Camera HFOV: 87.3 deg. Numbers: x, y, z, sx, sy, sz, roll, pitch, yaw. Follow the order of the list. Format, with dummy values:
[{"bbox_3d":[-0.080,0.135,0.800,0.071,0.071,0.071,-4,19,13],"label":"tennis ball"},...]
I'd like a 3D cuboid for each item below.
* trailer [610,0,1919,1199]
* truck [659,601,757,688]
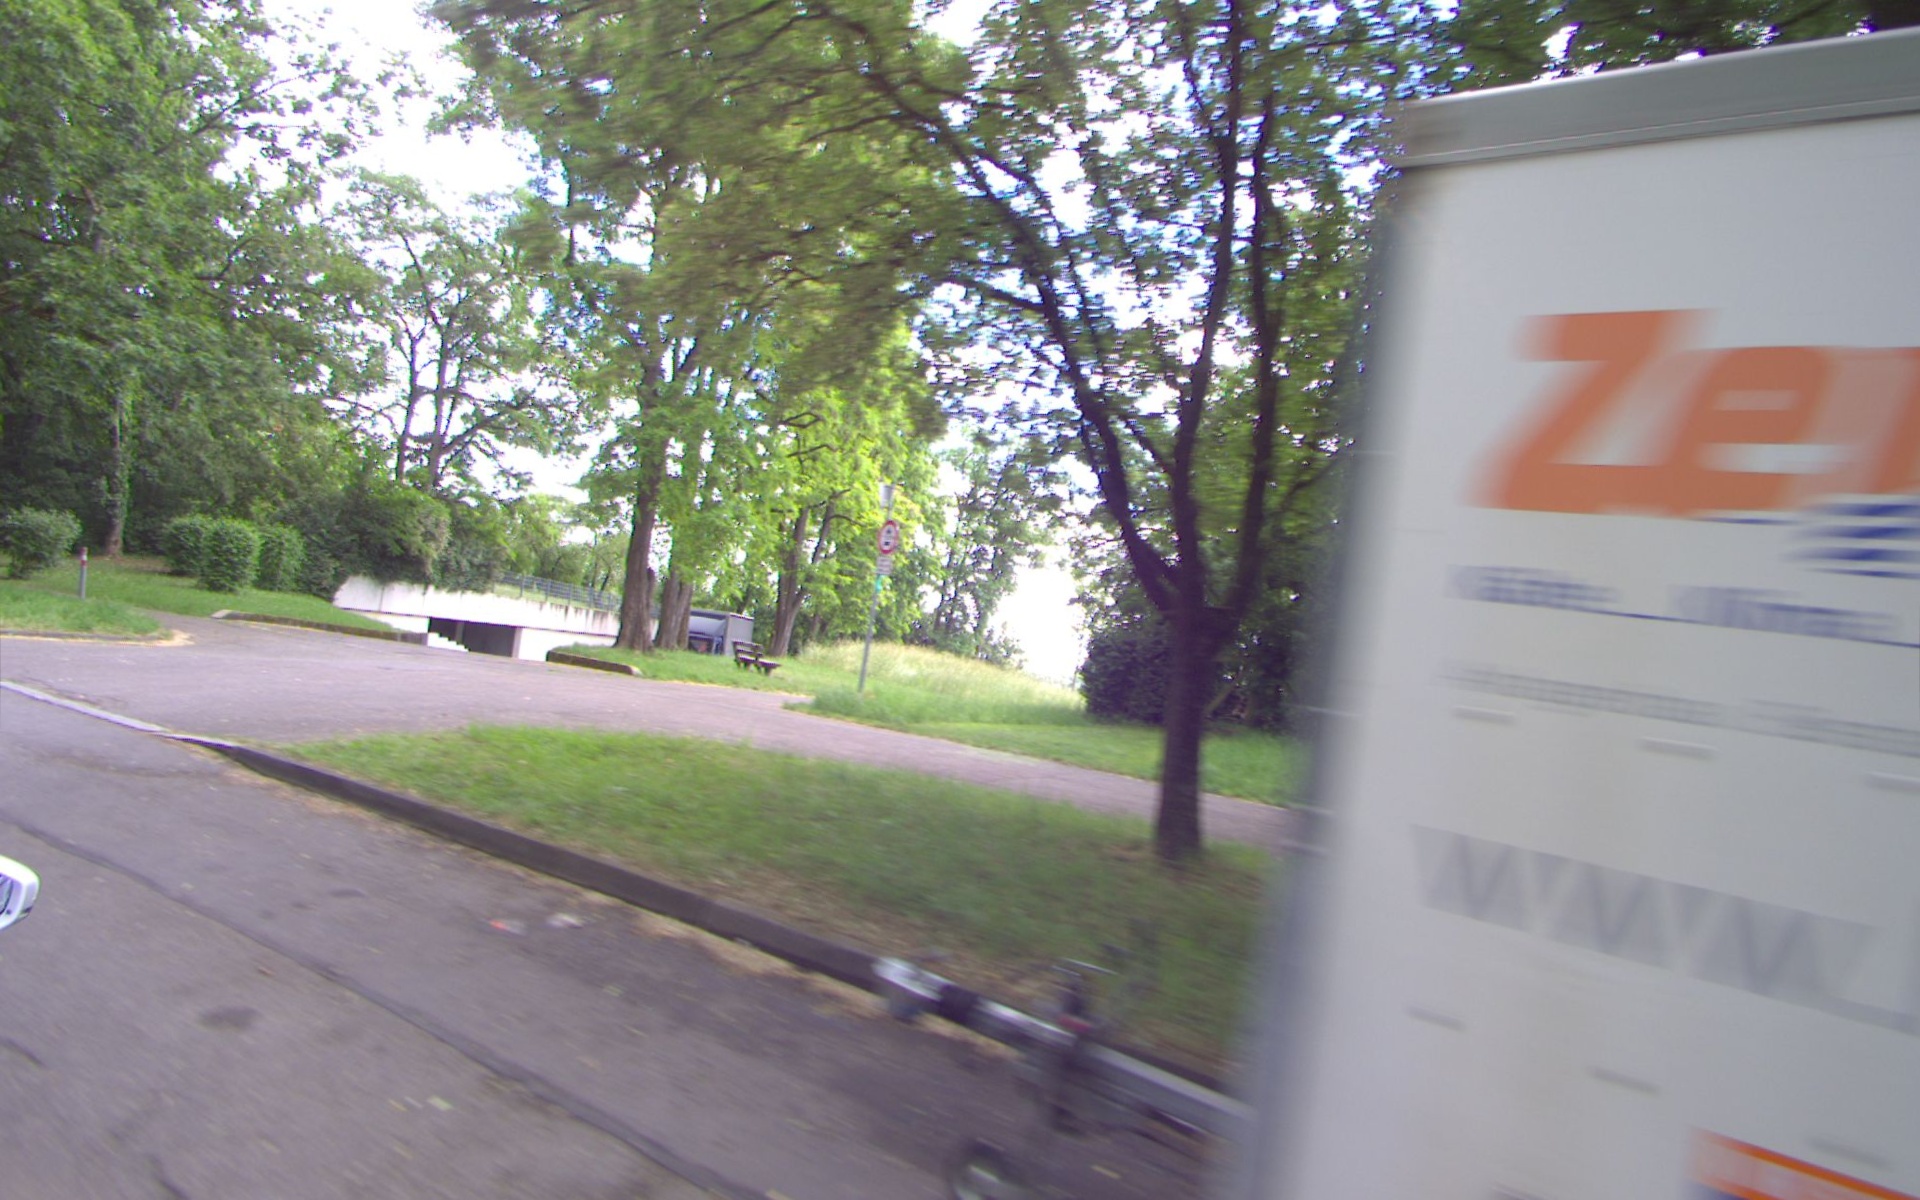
[{"bbox_3d":[1.475,0.505,1.726,3.823,2.456,1.763,6,-1,32],"label":"trailer"},{"bbox_3d":[-13.528,2.576,54.905,2.648,4.039,9.586,6,-4,-1],"label":"truck"}]
